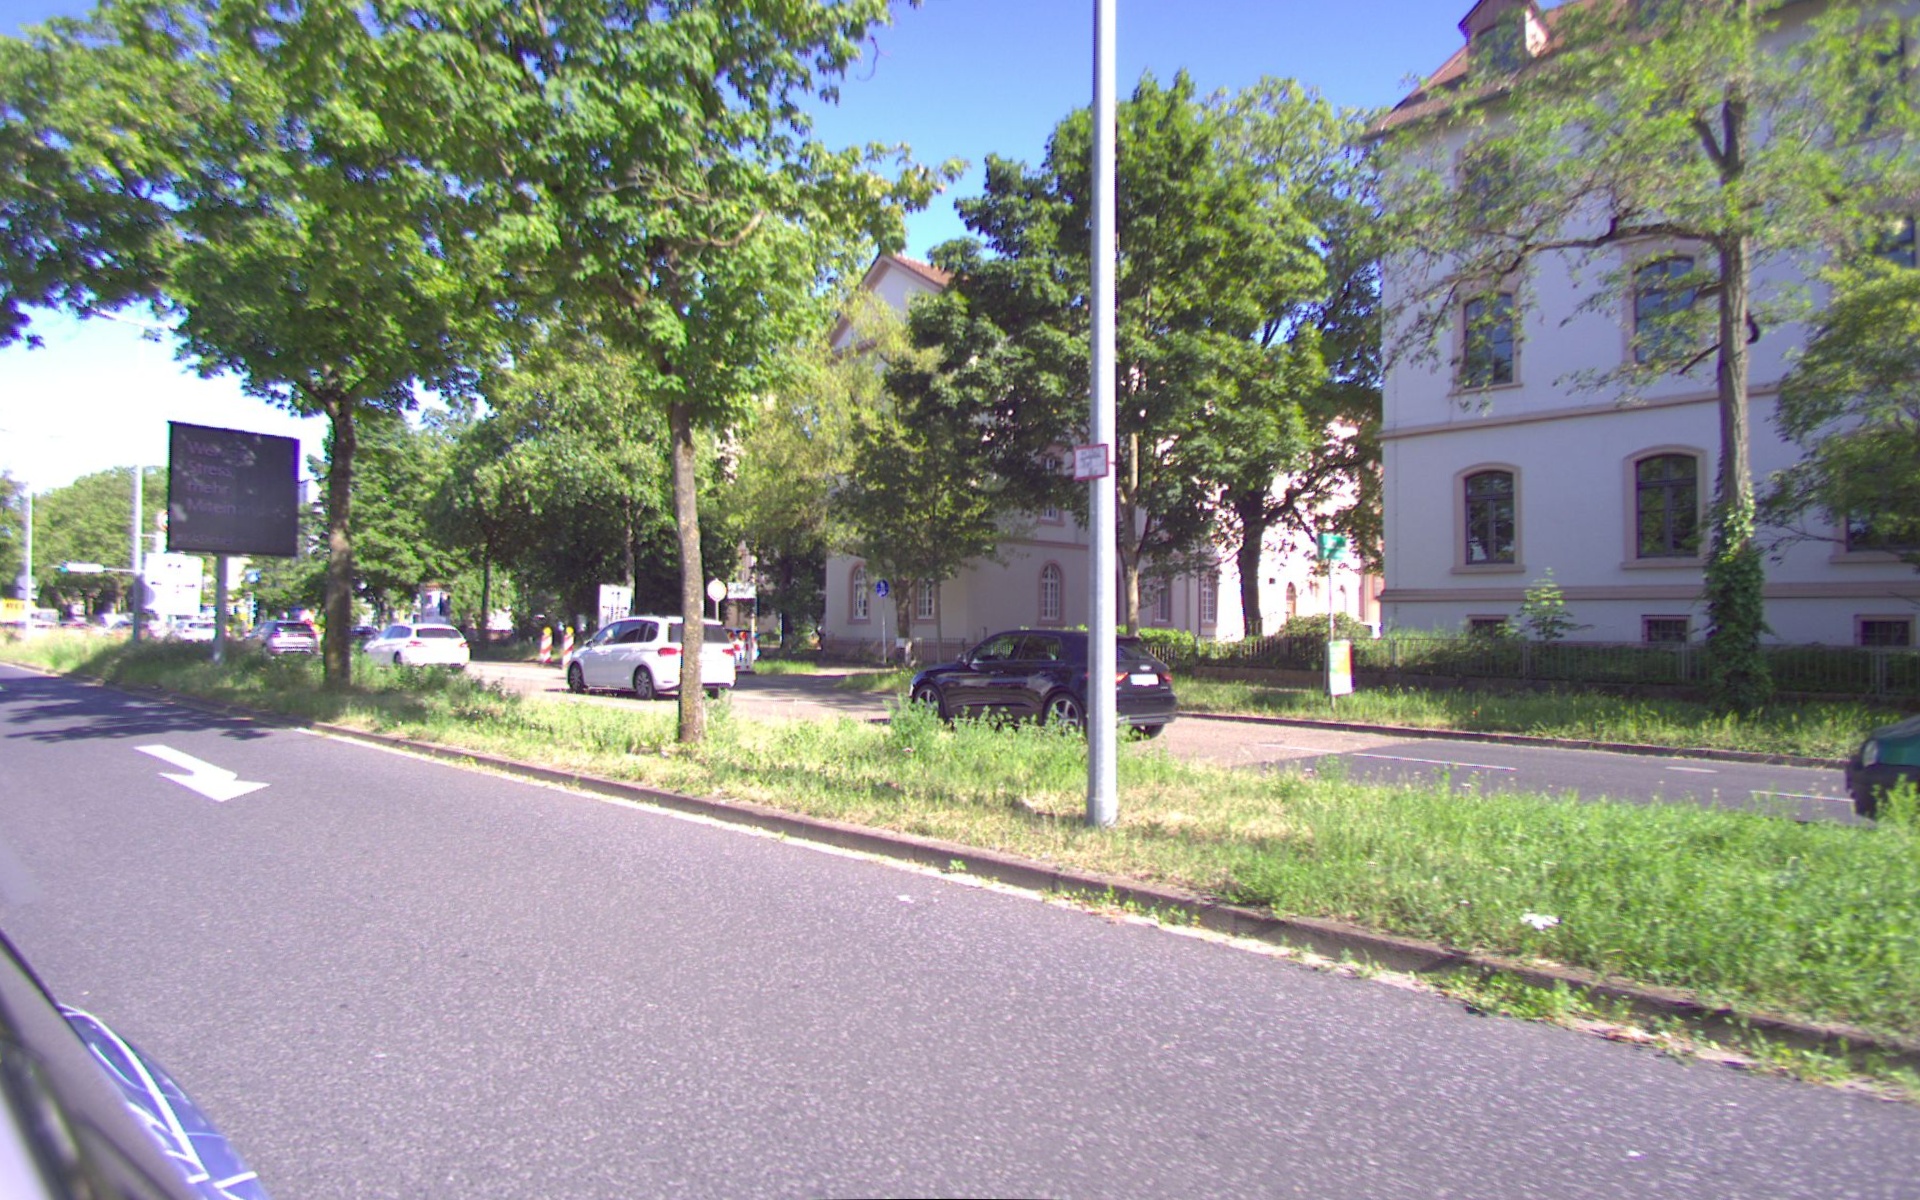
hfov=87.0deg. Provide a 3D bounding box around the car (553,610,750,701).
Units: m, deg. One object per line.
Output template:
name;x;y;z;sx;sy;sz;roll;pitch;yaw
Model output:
car;-6.368;1.083;20.599;4.539;1.638;1.879;-1;-3;45

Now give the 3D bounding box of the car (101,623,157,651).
car;-48.346;2.136;58.870;4.442;1.530;1.777;-1;-2;41

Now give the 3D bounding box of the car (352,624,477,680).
car;-16.068;1.469;29.703;4.666;1.530;1.818;-1;-2;43

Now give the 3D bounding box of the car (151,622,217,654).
car;-38.586;1.841;50.288;4.256;1.530;1.777;-1;-2;41

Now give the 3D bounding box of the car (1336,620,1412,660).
car;20.700;1.964;50.541;3.938;1.807;2.003;0;1;-42

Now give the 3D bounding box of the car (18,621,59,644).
car;-73.268;2.548;80.434;5.029;1.756;1.777;-1;-2;41

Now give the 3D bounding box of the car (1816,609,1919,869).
car;7.454;0.811;5.490;4.256;1.530;1.621;-1;-2;41

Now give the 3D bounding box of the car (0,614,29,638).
car;-64.624;1.742;68.586;4.345;1.530;1.777;0;0;41

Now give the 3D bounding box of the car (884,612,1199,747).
car;0.960;0.959;13.621;1.774;1.530;4.092;4;-3;-42

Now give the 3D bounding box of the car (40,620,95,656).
car;-47.791;2.016;54.160;4.323;1.630;1.734;2;2;42

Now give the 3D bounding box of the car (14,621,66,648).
car;-54.196;2.033;59.613;4.203;1.530;1.777;-1;-2;41

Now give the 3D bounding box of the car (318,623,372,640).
car;-64.791;3.311;106.597;4.636;1.630;1.922;0;1;-40

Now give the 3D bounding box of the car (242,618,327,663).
car;-26.333;1.525;39.383;4.257;1.530;1.776;1;0;42
